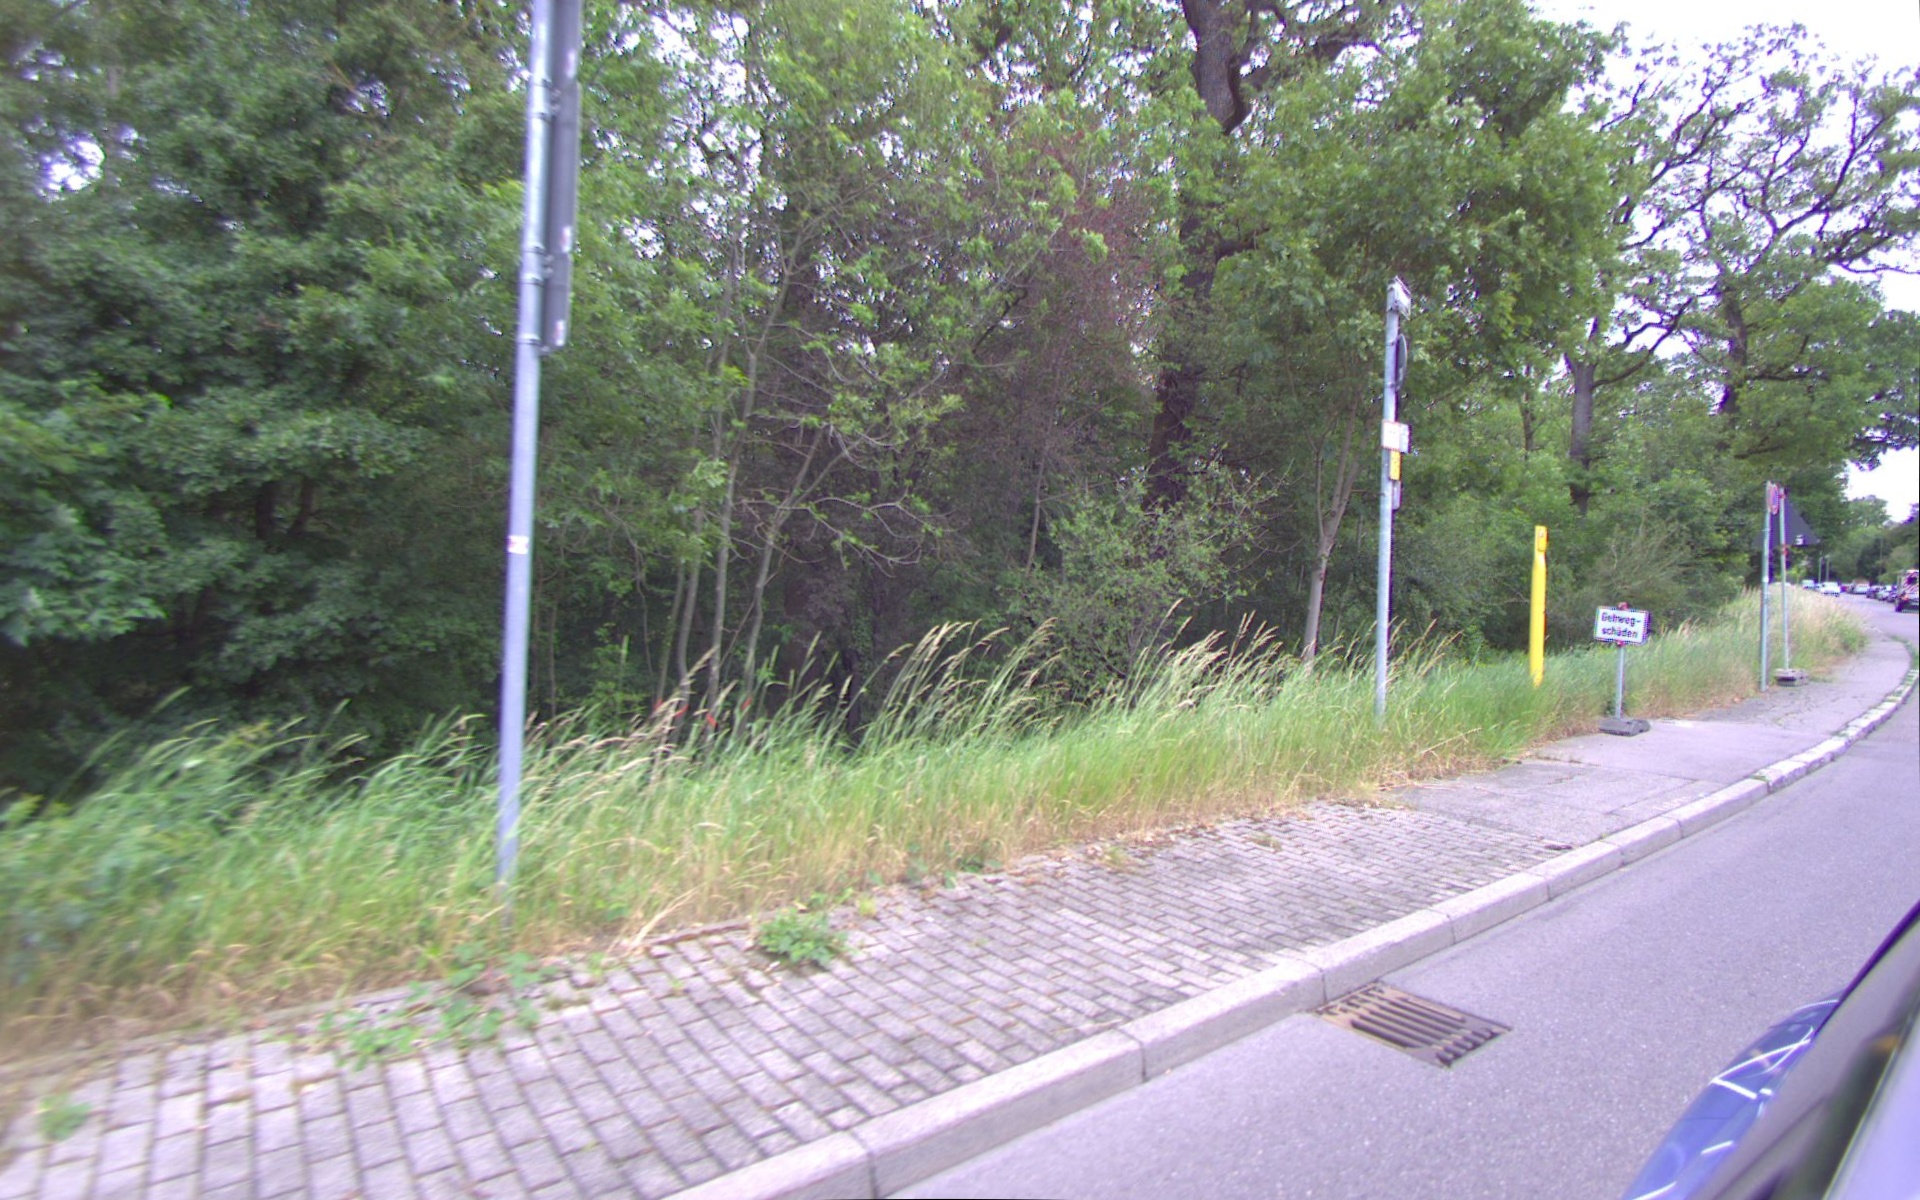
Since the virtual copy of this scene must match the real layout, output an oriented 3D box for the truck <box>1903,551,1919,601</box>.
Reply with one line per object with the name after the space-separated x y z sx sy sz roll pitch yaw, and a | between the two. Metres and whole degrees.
74.615 -1.806 77.680 2.997 3.684 6.983 2 2 41 | truck
